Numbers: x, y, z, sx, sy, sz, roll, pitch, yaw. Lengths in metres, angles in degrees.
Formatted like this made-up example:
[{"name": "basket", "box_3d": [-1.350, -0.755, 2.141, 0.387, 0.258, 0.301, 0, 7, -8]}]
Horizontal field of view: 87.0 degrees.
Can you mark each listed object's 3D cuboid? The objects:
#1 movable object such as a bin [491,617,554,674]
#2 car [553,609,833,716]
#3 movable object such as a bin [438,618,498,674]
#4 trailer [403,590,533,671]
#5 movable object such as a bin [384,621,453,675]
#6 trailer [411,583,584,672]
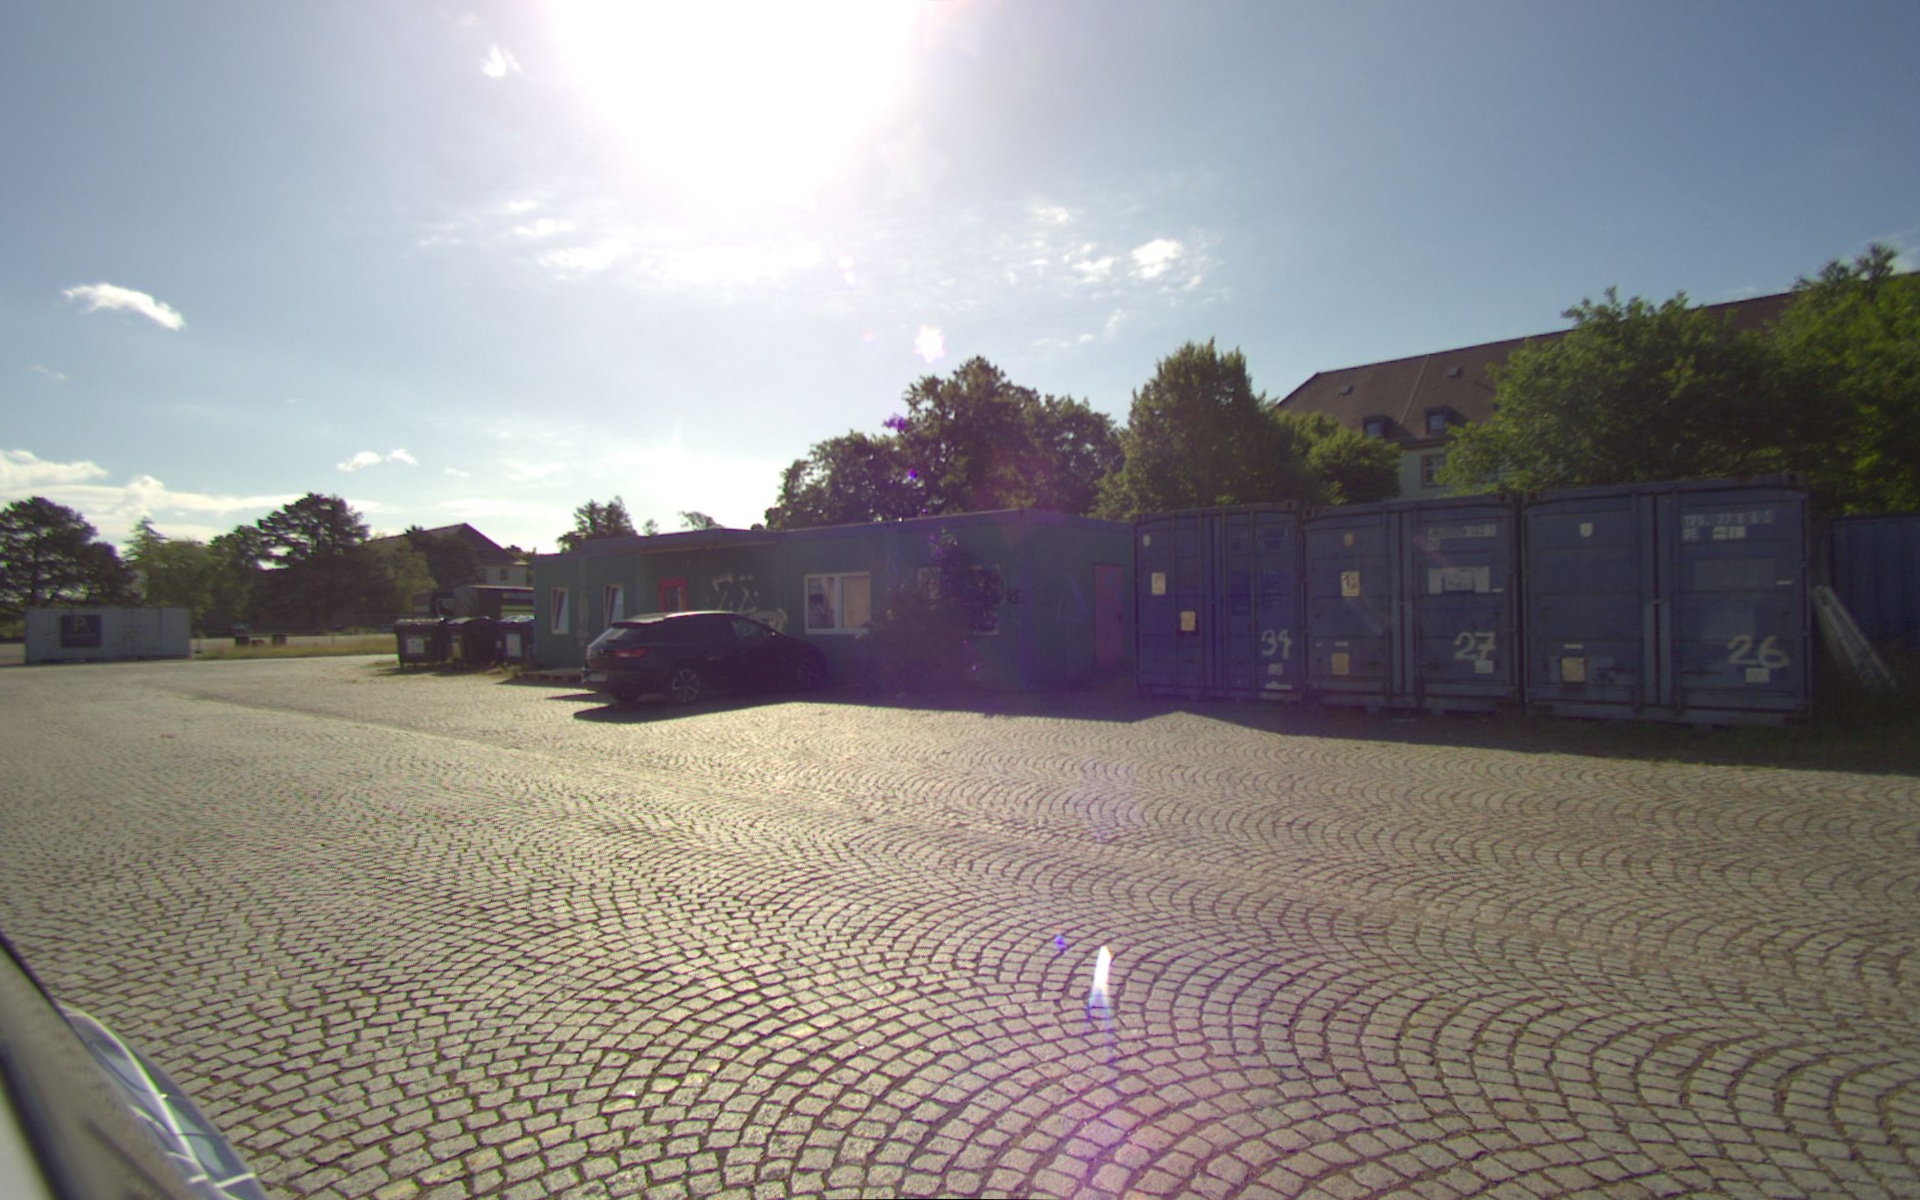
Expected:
[{"name": "movable object such as a bin", "box_3d": [-11.884, 1.227, 27.483, 1.435, 1.469, 0.876, -1, 0, 31]}, {"name": "car", "box_3d": [-4.333, 0.936, 16.970, 1.929, 1.460, 4.210, -1, 0, 39]}, {"name": "movable object such as a bin", "box_3d": [-13.626, 1.263, 28.033, 1.440, 1.469, 1.007, -1, 0, 41]}, {"name": "trailer", "box_3d": [-16.332, 0.961, 33.651, 2.044, 2.488, 3.349, -1, 0, 42]}, {"name": "movable object such as a bin", "box_3d": [-15.525, 1.367, 29.061, 1.416, 1.469, 1.157, -1, 0, -6]}, {"name": "trailer", "box_3d": [-14.518, 0.786, 32.008, 1.948, 2.587, 4.593, -1, 0, 37]}]
